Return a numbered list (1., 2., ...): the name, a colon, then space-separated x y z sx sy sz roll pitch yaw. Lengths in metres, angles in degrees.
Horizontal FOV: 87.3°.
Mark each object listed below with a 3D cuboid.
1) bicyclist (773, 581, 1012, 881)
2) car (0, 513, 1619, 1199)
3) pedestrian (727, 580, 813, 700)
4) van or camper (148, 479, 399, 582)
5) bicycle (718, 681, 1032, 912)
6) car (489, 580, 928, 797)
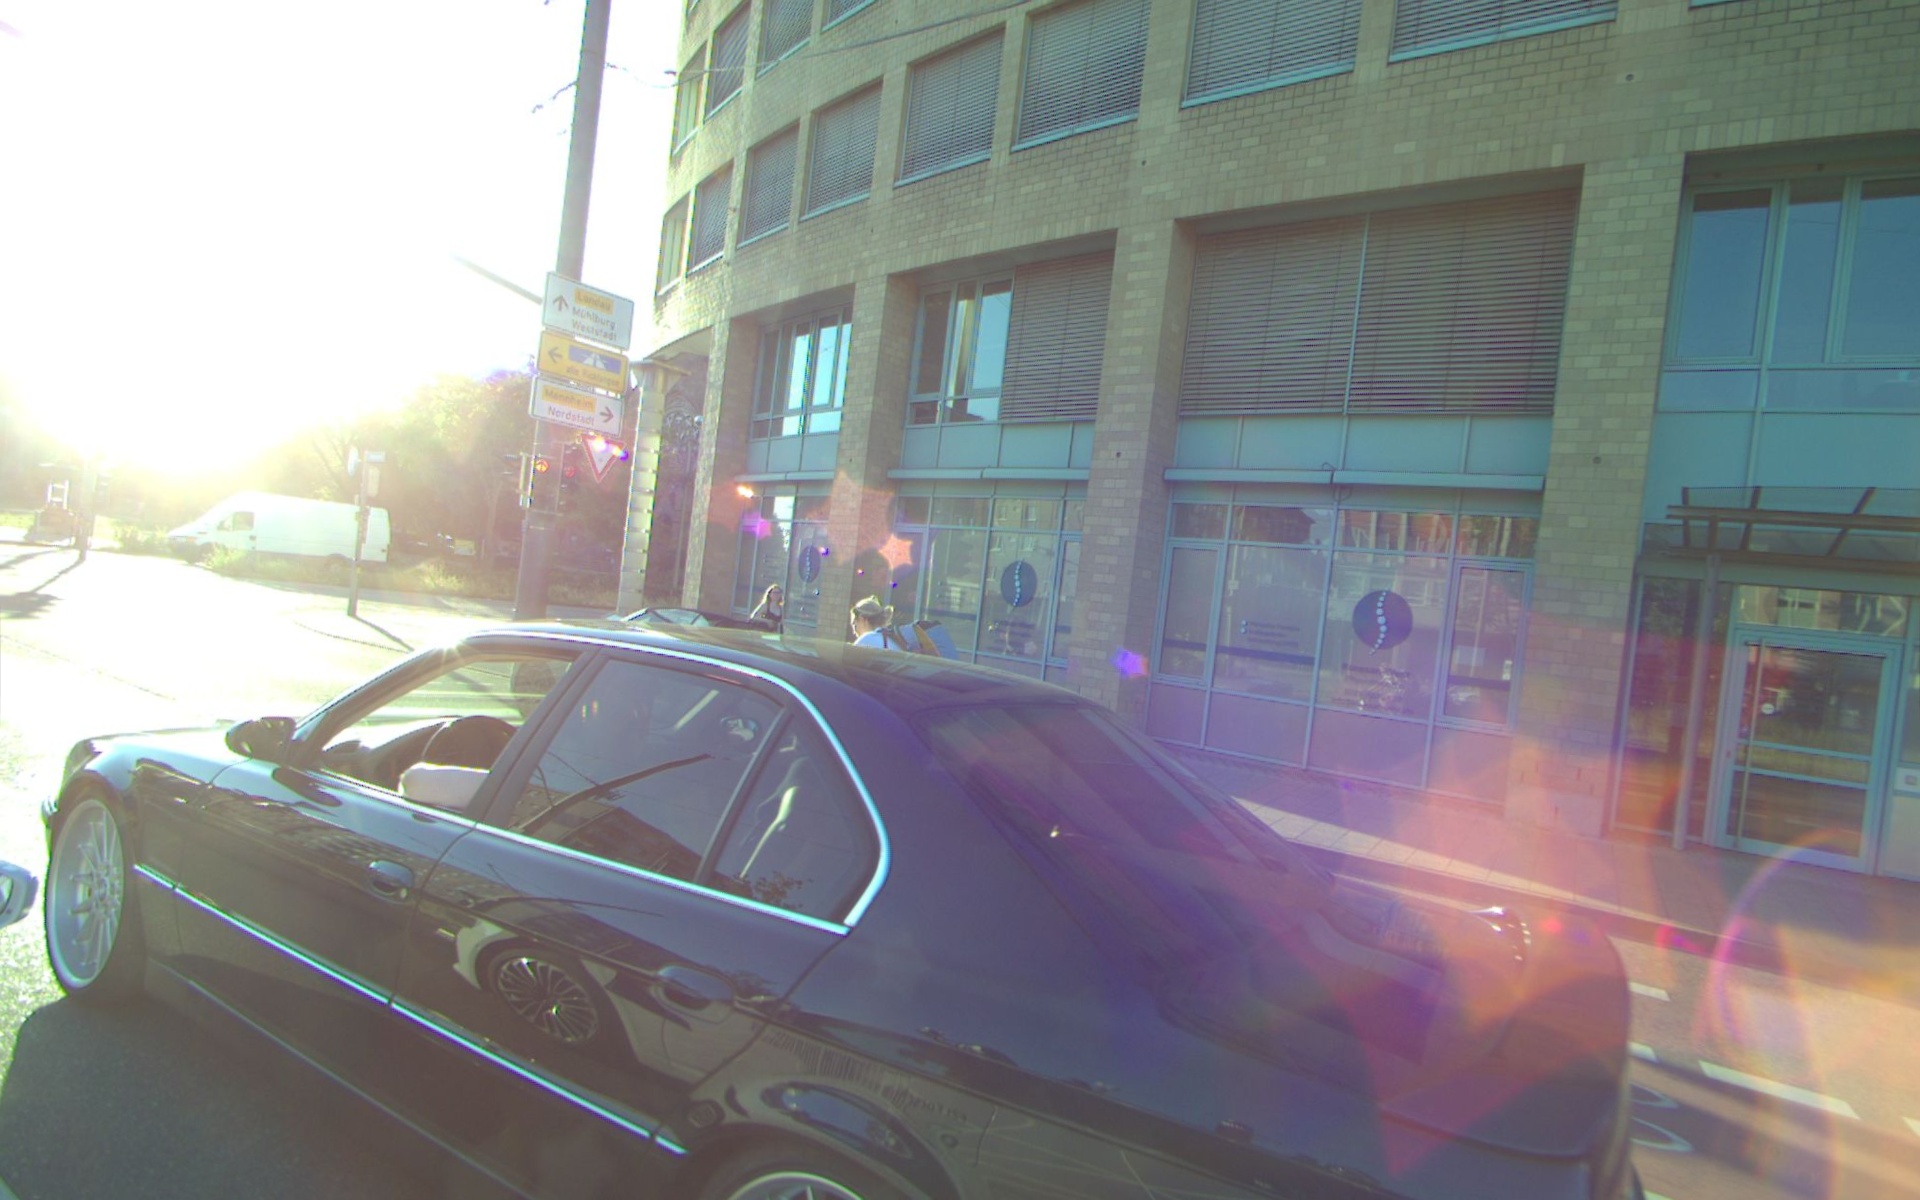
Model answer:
1. bicyclist: -0.388 0.717 5.847 1.020 1.500 0.657 7 -1 29
2. car: -0.891 0.728 3.001 4.563 1.370 1.833 8 -1 31
3. pedestrian: -2.718 0.576 14.414 0.786 1.589 0.678 8 2 29
4. van or camper: -25.158 -2.464 37.252 2.556 2.708 7.047 8 1 34
5. bicycle: -0.527 1.077 5.869 1.745 0.966 0.516 6 -1 30
6. car: -2.623 0.790 10.184 4.196 1.370 1.786 8 -1 32
